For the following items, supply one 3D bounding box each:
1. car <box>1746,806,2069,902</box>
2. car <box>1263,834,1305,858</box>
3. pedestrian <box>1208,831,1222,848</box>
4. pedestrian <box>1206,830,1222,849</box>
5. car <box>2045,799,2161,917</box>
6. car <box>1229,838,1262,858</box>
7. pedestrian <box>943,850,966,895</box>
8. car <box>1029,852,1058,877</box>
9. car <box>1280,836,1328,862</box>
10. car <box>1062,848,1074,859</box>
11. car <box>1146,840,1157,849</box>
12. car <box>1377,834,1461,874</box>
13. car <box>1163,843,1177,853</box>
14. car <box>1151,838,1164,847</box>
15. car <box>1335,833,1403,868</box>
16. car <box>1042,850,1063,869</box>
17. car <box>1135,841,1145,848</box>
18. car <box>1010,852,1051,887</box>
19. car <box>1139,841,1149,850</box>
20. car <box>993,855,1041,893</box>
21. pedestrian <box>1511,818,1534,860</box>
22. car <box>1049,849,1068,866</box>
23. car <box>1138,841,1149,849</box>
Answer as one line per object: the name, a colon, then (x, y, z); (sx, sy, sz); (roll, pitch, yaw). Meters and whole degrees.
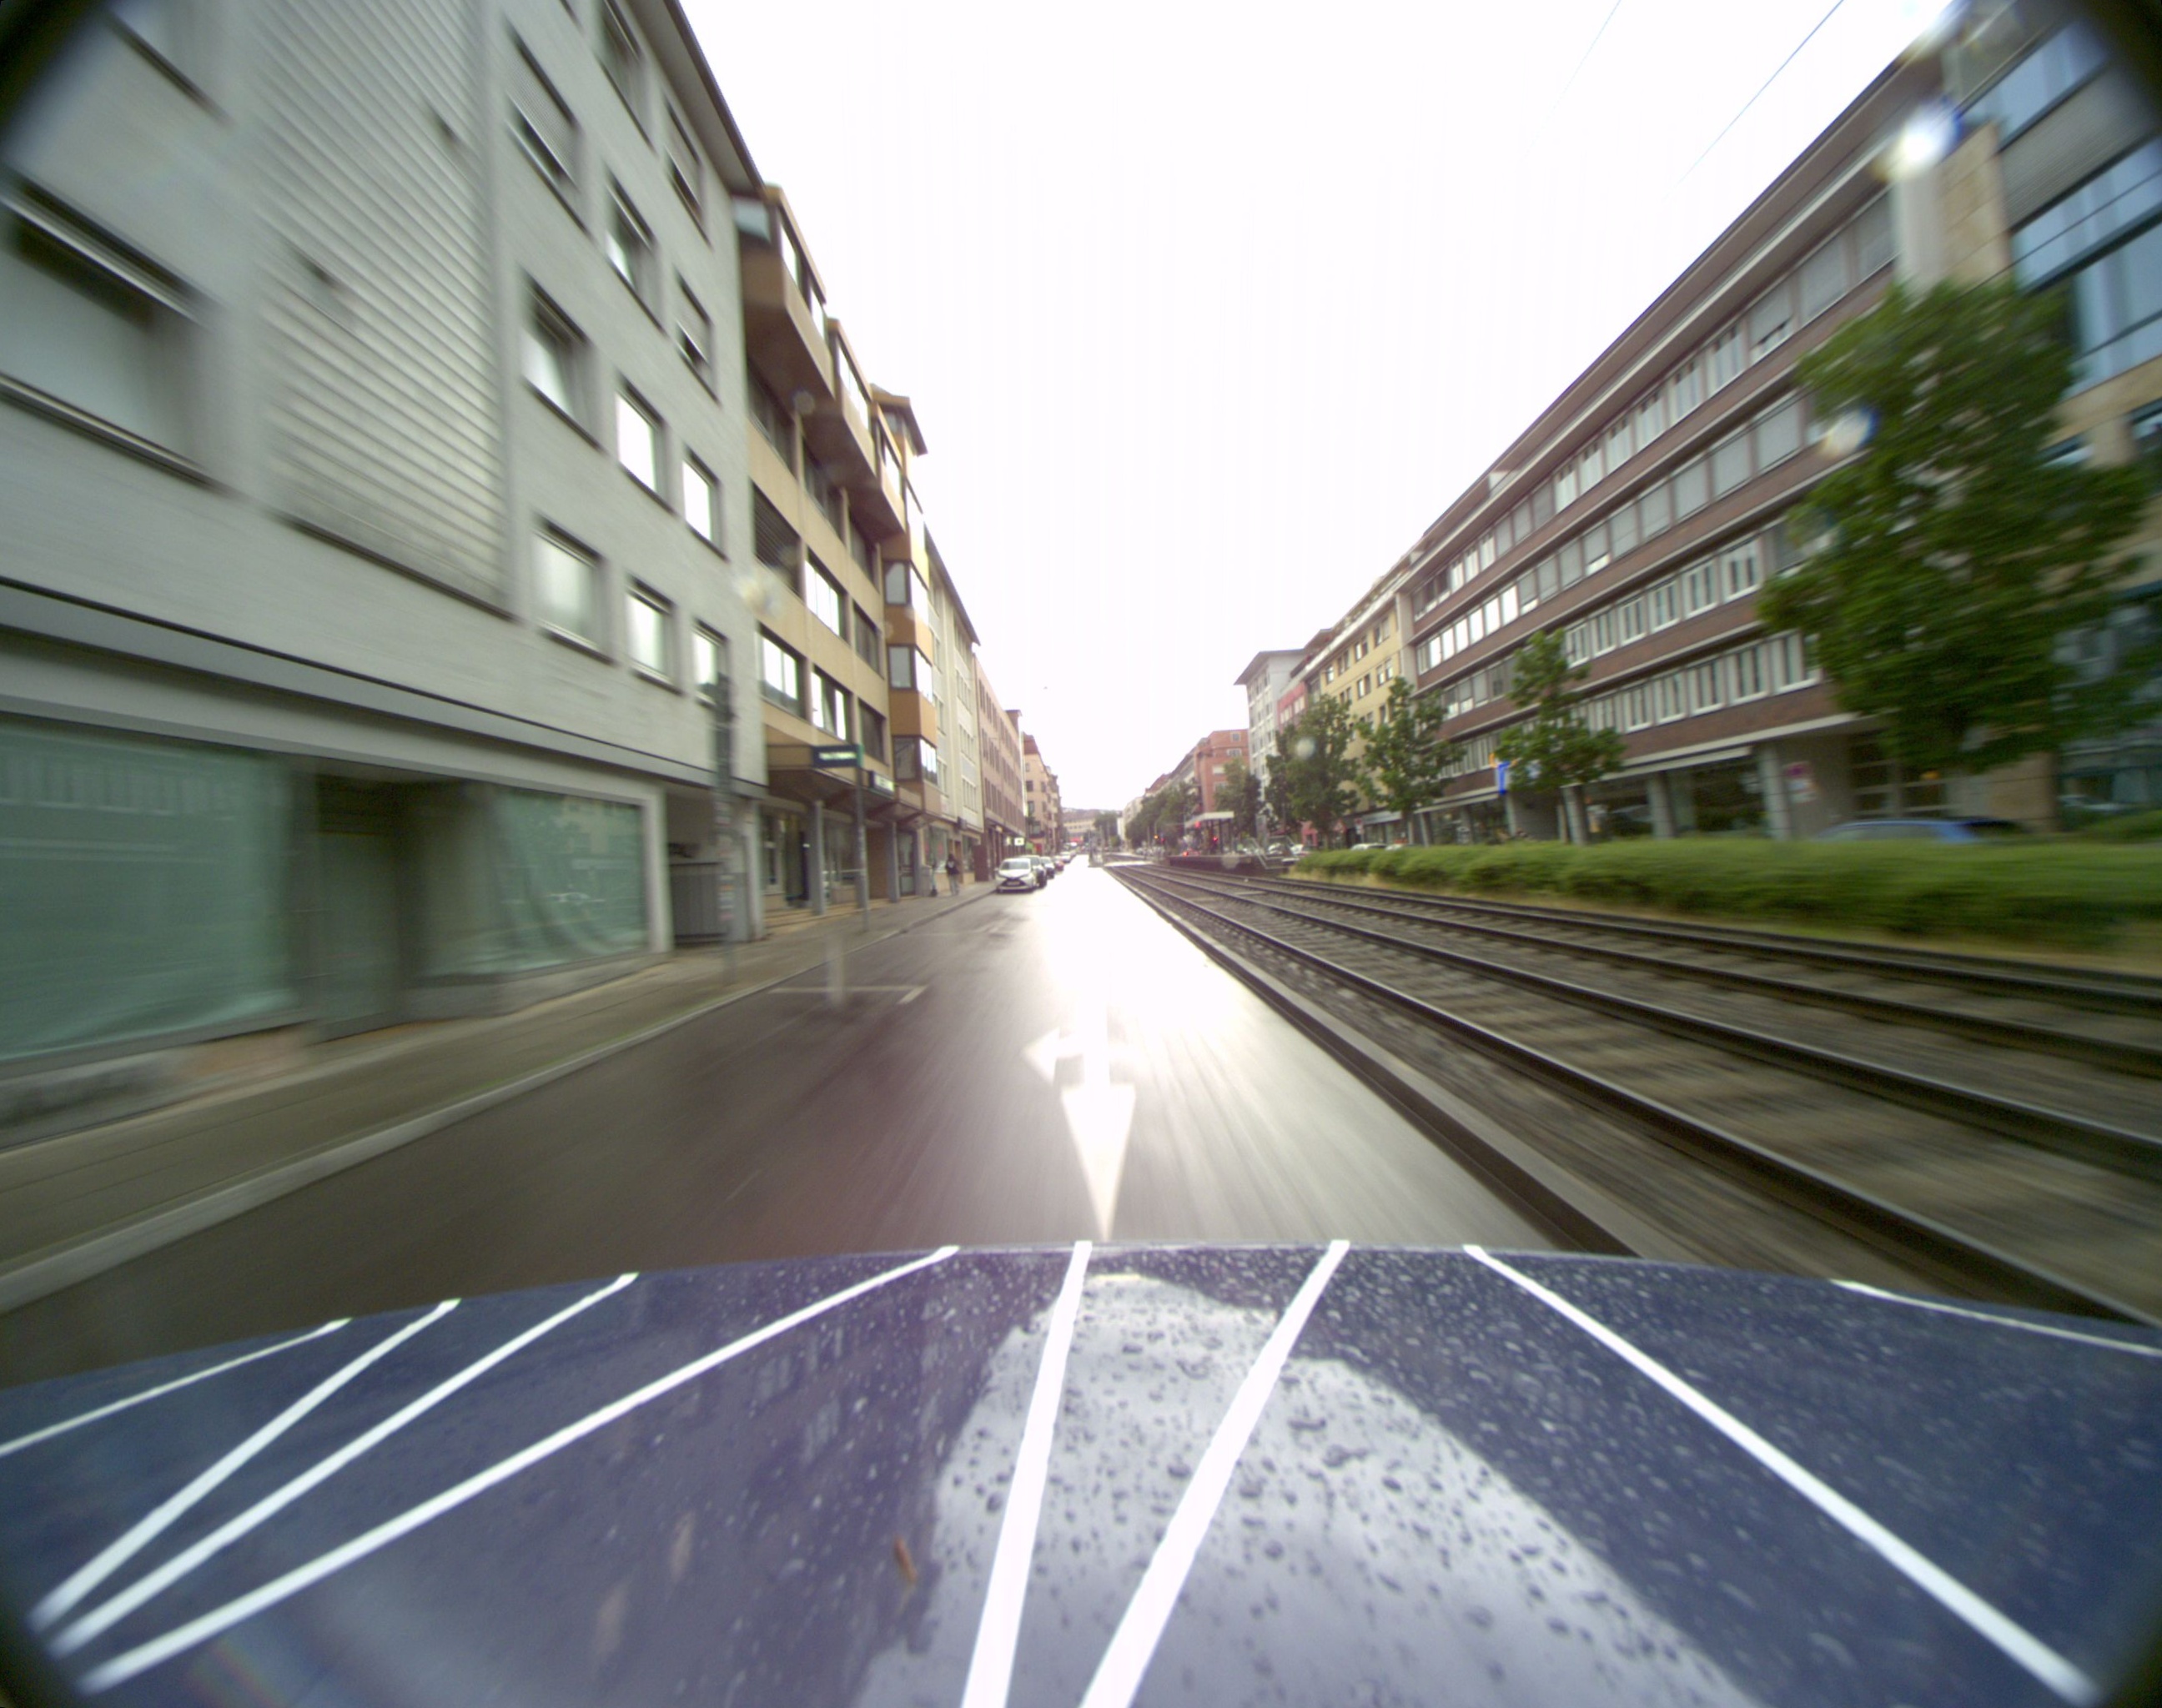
car: (15.125, -0.014, 14.300); (1.653, 1.489, 4.067); (-3, 0, 1)
car: (15.360, -0.612, 57.653); (1.999, 1.652, 3.999); (-3, 1, -1)
pedestrian: (10.046, -1.063, 56.930); (0.815, 1.248, 0.637); (-3, 1, -2)
pedestrian: (10.081, -1.105, 57.600); (0.958, 1.378, 0.637); (-3, 1, -2)
car: (14.883, 0.022, 8.770); (1.653, 1.532, 4.621); (-3, 0, 1)
car: (14.835, -0.575, 68.610); (1.999, 1.652, 3.999); (-3, 1, -1)
pedestrian: (-4.919, 0.691, 29.552); (0.640, 1.691, 0.883); (-3, 1, 1)
car: (-2.592, 0.696, 53.235); (1.653, 1.584, 4.067); (-3, 0, 1)
car: (15.216, -0.338, 52.013); (1.999, 1.652, 3.999); (-3, 1, -1)
car: (-2.123, -0.119, 123.582); (1.653, 1.584, 4.067); (-3, 0, 1)
car: (14.610, -1.934, 157.647); (1.999, 1.652, 3.999); (-3, 1, -1)
car: (15.464, -0.025, 35.020); (1.999, 1.652, 3.999); (-3, 1, -1)
car: (15.994, -1.097, 136.428); (1.999, 1.652, 3.999); (-3, 1, -1)
car: (14.909, -2.301, 148.145); (1.999, 1.652, 3.999); (-3, 1, -1)
car: (15.290, -0.200, 40.558); (1.999, 1.652, 3.999); (-3, 1, -1)
car: (-2.519, 0.477, 68.259); (1.653, 1.584, 4.067); (-3, 0, 1)
car: (14.537, -2.316, 188.574); (1.999, 1.779, 3.999); (-3, 1, -1)
car: (-2.528, 0.763, 38.685); (1.653, 1.584, 4.067); (-3, 0, 1)
car: (14.242, -1.946, 171.802); (1.999, 1.779, 4.163); (-3, 1, -1)
car: (-2.810, 0.833, 34.097); (1.653, 1.489, 4.067); (-3, 0, 1)
pedestrian: (19.989, -0.671, 34.411); (0.576, 1.859, 0.743); (-3, 1, 1)
car: (-2.187, 0.368, 76.136); (1.653, 1.584, 4.067); (-3, 0, 1)
car: (14.498, -2.152, 176.791); (1.999, 1.779, 3.999); (-3, 1, -1)
